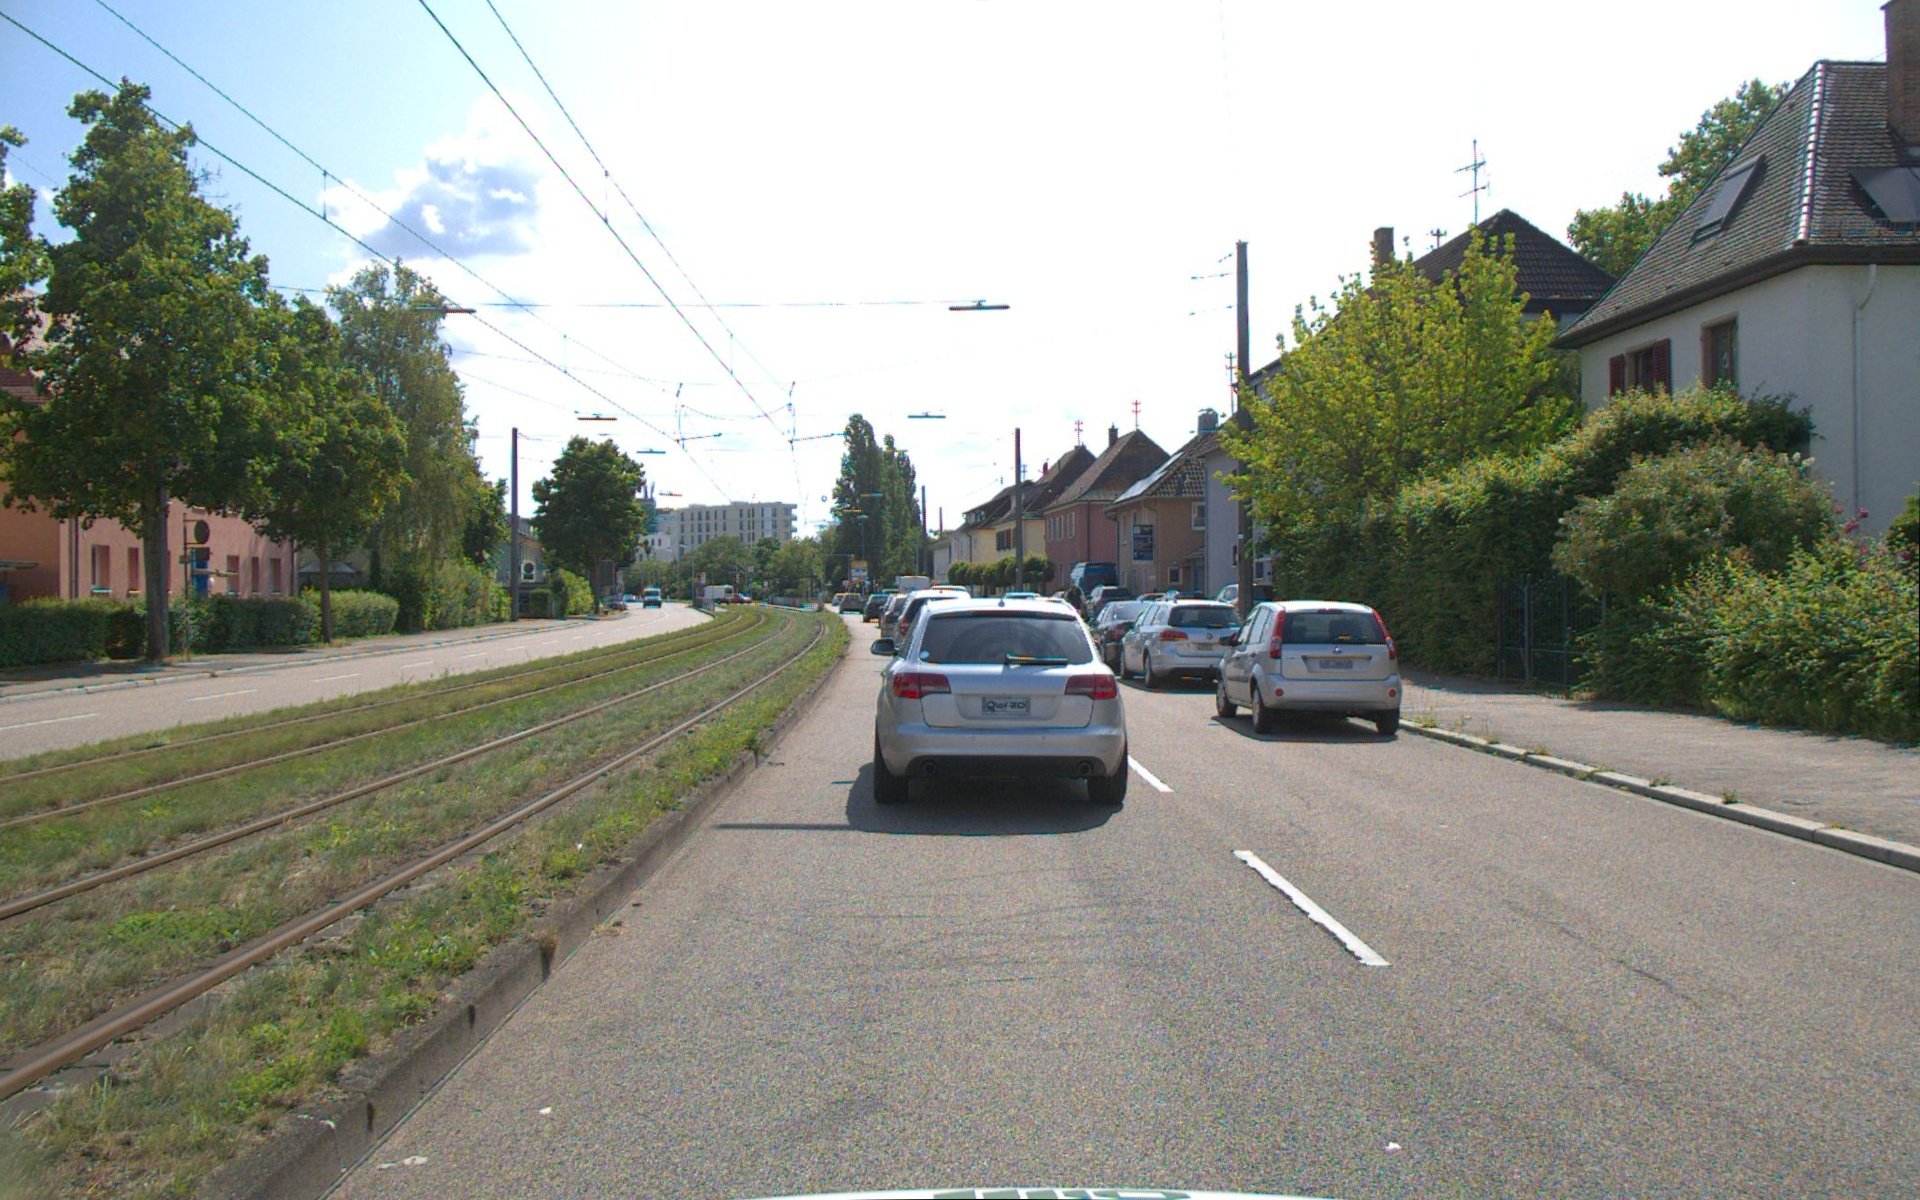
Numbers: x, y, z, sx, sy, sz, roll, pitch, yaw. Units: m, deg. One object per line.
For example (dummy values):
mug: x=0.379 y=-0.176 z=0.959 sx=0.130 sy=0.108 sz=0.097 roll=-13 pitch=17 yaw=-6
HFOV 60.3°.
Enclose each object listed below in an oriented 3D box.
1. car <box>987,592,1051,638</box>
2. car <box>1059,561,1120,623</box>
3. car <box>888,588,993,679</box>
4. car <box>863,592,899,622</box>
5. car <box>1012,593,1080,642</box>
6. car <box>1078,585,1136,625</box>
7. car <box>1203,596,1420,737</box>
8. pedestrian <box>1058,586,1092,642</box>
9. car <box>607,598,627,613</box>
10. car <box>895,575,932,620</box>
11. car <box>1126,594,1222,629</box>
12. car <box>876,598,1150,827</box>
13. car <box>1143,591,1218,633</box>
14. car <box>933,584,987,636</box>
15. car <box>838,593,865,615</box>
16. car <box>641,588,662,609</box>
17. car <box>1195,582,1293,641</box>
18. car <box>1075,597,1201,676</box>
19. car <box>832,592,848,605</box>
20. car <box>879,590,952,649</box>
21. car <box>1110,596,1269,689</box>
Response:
car: x=2.108 y=0.541 z=60.241 sx=1.772 sy=1.587 sz=4.248 roll=1 pitch=-1 yaw=-6
car: x=6.475 y=-0.365 z=83.308 sx=2.109 sy=2.981 sz=6.238 roll=1 pitch=-1 yaw=-4
car: x=-0.444 y=0.609 z=32.351 sx=1.752 sy=1.604 sz=4.091 roll=2 pitch=0 yaw=-4
car: x=-4.184 y=0.378 z=87.074 sx=1.848 sy=1.557 sz=4.091 roll=1 pitch=-1 yaw=-4
car: x=2.719 y=0.563 z=53.196 sx=1.778 sy=1.479 sz=4.641 roll=1 pitch=-1 yaw=-2
car: x=6.793 y=0.224 z=77.066 sx=1.801 sy=1.741 sz=4.858 roll=-2 pitch=1 yaw=-5
car: x=4.134 y=0.743 z=20.058 sx=1.701 sy=1.515 sz=4.093 roll=1 pitch=-1 yaw=-1
pedestrian: x=4.090 y=0.496 z=58.941 sx=1.090 sy=1.980 sz=1.091 roll=0 pitch=-1 yaw=-4
car: x=-35.577 y=0.565 z=171.707 sx=1.753 sy=1.612 sz=3.923 roll=0 pitch=0 yaw=-8
car: x=-2.799 y=-0.150 z=99.479 sx=2.001 sy=2.602 sz=5.226 roll=0 pitch=0 yaw=-4
car: x=8.650 y=0.480 z=66.944 sx=3.579 sy=1.404 sz=1.724 roll=0 pitch=-1 yaw=-7
car: x=0.281 y=0.752 z=13.282 sx=1.817 sy=1.518 sz=4.534 roll=0 pitch=0 yaw=-2
car: x=8.101 y=0.410 z=61.097 sx=1.763 sy=1.448 sz=4.853 roll=-1 pitch=0 yaw=-4
car: x=-0.011 y=0.344 z=59.287 sx=1.846 sy=1.761 sz=4.094 roll=-1 pitch=0 yaw=-1
car: x=-7.897 y=0.308 z=120.477 sx=1.848 sy=1.557 sz=4.091 roll=1 pitch=-1 yaw=-4
car: x=-36.056 y=-0.140 z=193.187 sx=2.156 sy=2.413 sz=5.322 roll=-2 pitch=0 yaw=-9
car: x=8.717 y=0.353 z=51.159 sx=1.723 sy=1.676 sz=4.762 roll=-1 pitch=0 yaw=-7
car: x=3.644 y=0.711 z=34.818 sx=1.862 sy=1.469 sz=5.055 roll=1 pitch=0 yaw=-3
car: x=-14.923 y=-0.164 z=205.414 sx=1.848 sy=1.557 sz=4.091 roll=1 pitch=-1 yaw=-4
car: x=-1.256 y=0.502 z=44.758 sx=1.847 sy=1.491 sz=4.092 roll=-1 pitch=0 yaw=-3
car: x=3.963 y=0.720 z=29.393 sx=1.852 sy=1.481 sz=5.003 roll=1 pitch=-1 yaw=-3
